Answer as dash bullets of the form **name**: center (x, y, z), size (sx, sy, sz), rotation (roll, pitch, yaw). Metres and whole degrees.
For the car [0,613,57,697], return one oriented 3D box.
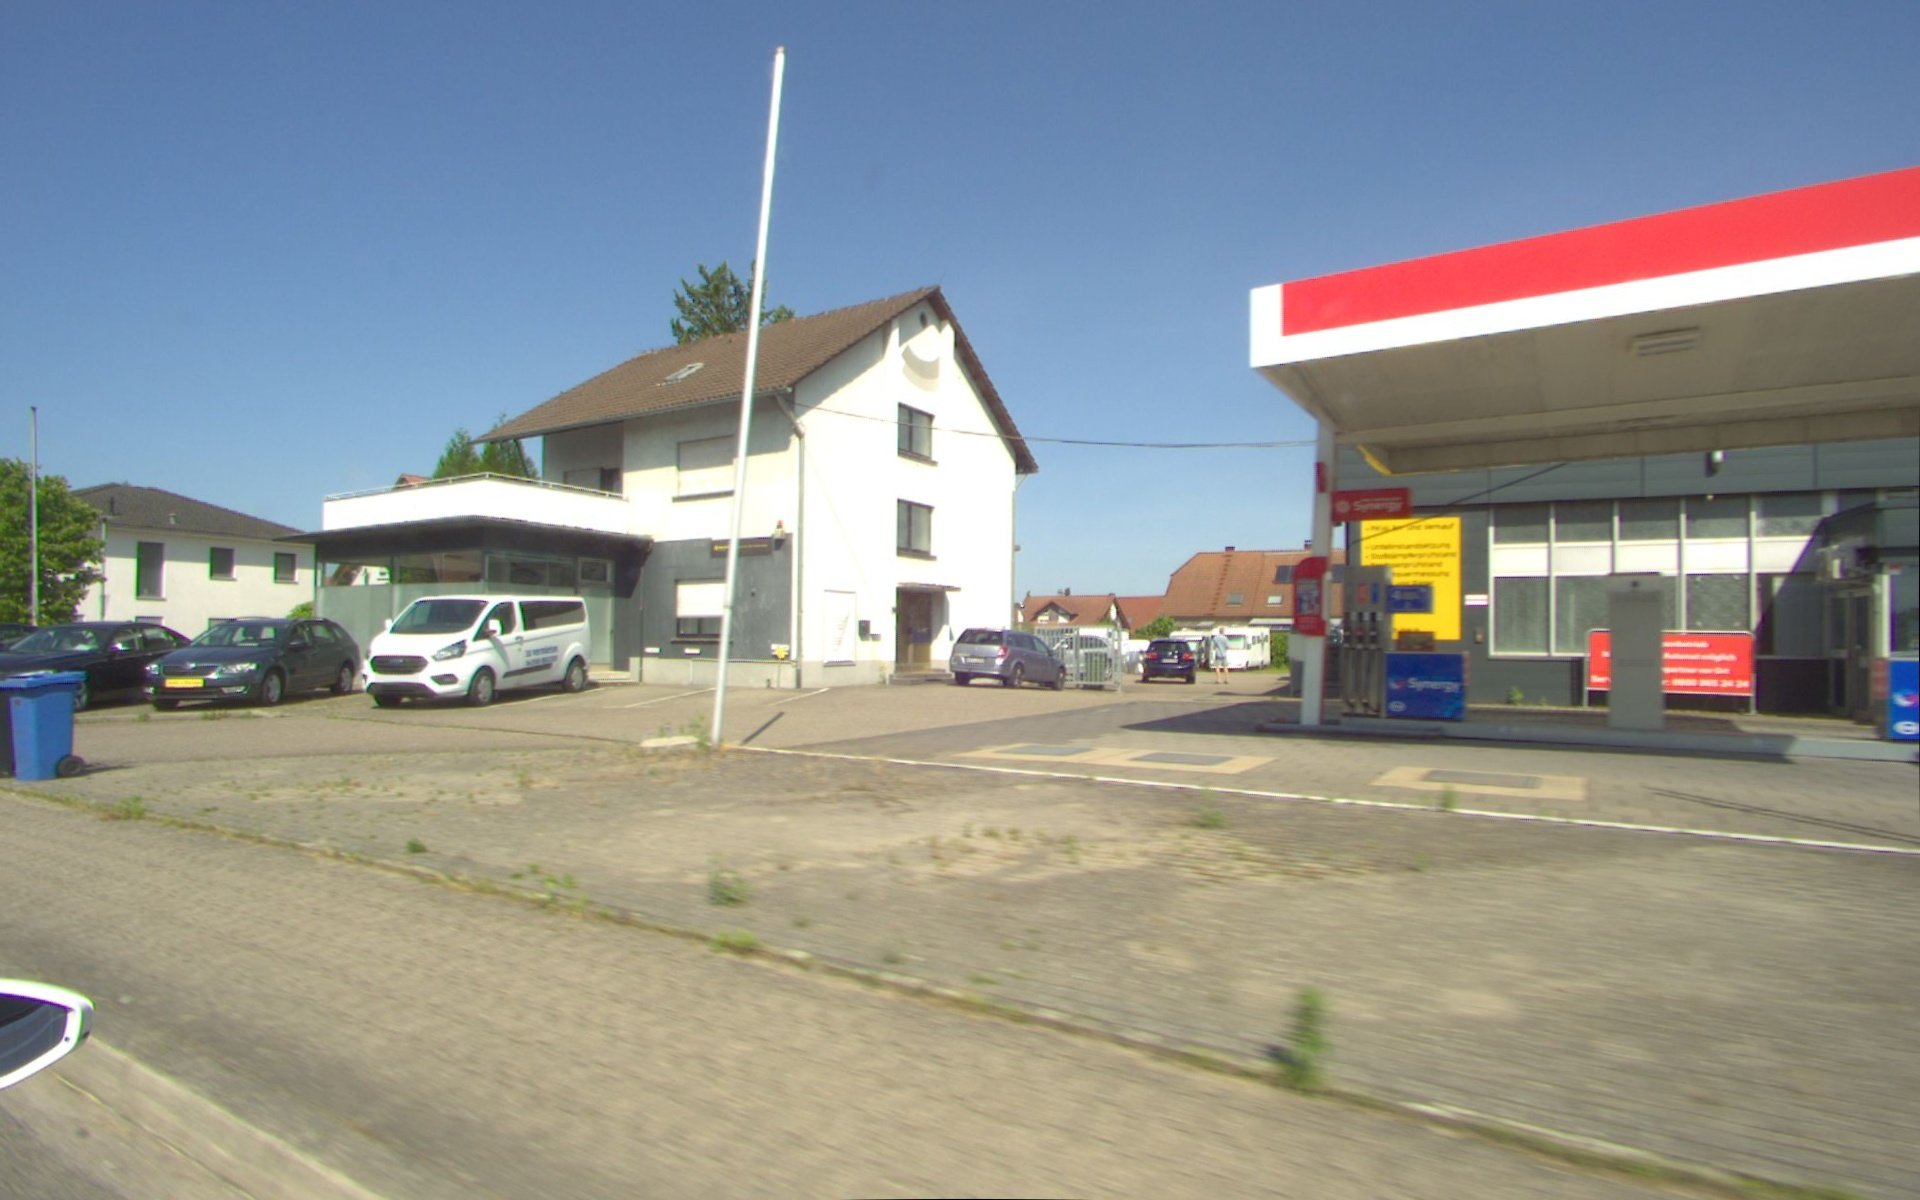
- **car**: center (-17.472, 0.931, 16.742), size (1.718, 1.465, 3.872), rotation (0, -1, -10)

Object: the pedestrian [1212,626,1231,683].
- **pedestrian**: center (8.832, 1.840, 33.839), size (0.599, 1.889, 0.503), rotation (0, -1, 16)

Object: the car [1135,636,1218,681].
- **car**: center (7.341, 1.989, 33.738), size (1.784, 1.392, 3.619), rotation (-1, -5, 29)

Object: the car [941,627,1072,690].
- **car**: center (1.287, 1.540, 25.965), size (1.784, 1.497, 4.061), rotation (-1, -4, 29)

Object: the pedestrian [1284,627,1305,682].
- **pedestrian**: center (10.921, 1.784, 32.706), size (0.635, 1.769, 0.650), rotation (0, -1, 18)

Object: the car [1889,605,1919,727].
- **car**: center (16.001, 0.989, 13.484), size (4.737, 1.763, 1.806), rotation (1, -2, 23)

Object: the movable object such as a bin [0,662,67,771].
- **movable object such as a bin**: center (-8.694, 1.054, 9.209), size (0.506, 0.948, 0.558), rotation (0, -1, 23)

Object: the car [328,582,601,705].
- **car**: center (-9.236, 0.800, 19.352), size (2.188, 2.039, 5.287), rotation (0, -1, 7)

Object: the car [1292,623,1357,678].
- **car**: center (13.841, 1.875, 37.886), size (1.903, 1.928, 5.171), rotation (-1, -2, 25)

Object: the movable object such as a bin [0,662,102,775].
- **movable object such as a bin**: center (-8.221, 1.046, 9.031), size (0.506, 0.951, 0.558), rotation (0, -1, 23)

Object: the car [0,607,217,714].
- **car**: center (-14.832, 0.959, 16.947), size (1.947, 1.586, 4.237), rotation (0, -1, -11)

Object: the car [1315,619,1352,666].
- **car**: center (23.029, 2.579, 61.609), size (1.763, 2.735, 5.177), rotation (-1, -2, 24)

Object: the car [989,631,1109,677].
- **car**: center (3.188, 1.948, 35.726), size (4.022, 1.497, 1.802), rotation (4, -5, -33)

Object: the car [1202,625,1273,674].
- **car**: center (18.178, 3.168, 65.299), size (2.730, 2.961, 7.333), rotation (-1, -2, 30)

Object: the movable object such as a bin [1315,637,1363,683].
- **movable object such as a bin**: center (11.269, 1.770, 29.767), size (1.257, 1.312, 1.171), rotation (-1, -2, 25)

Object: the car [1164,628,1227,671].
- **car**: center (16.037, 3.322, 68.004), size (2.730, 2.835, 5.417), rotation (-1, -2, 30)

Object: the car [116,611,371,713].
- **car**: center (-12.461, 1.028, 17.824), size (1.947, 1.570, 4.316), rotation (0, -1, -9)
